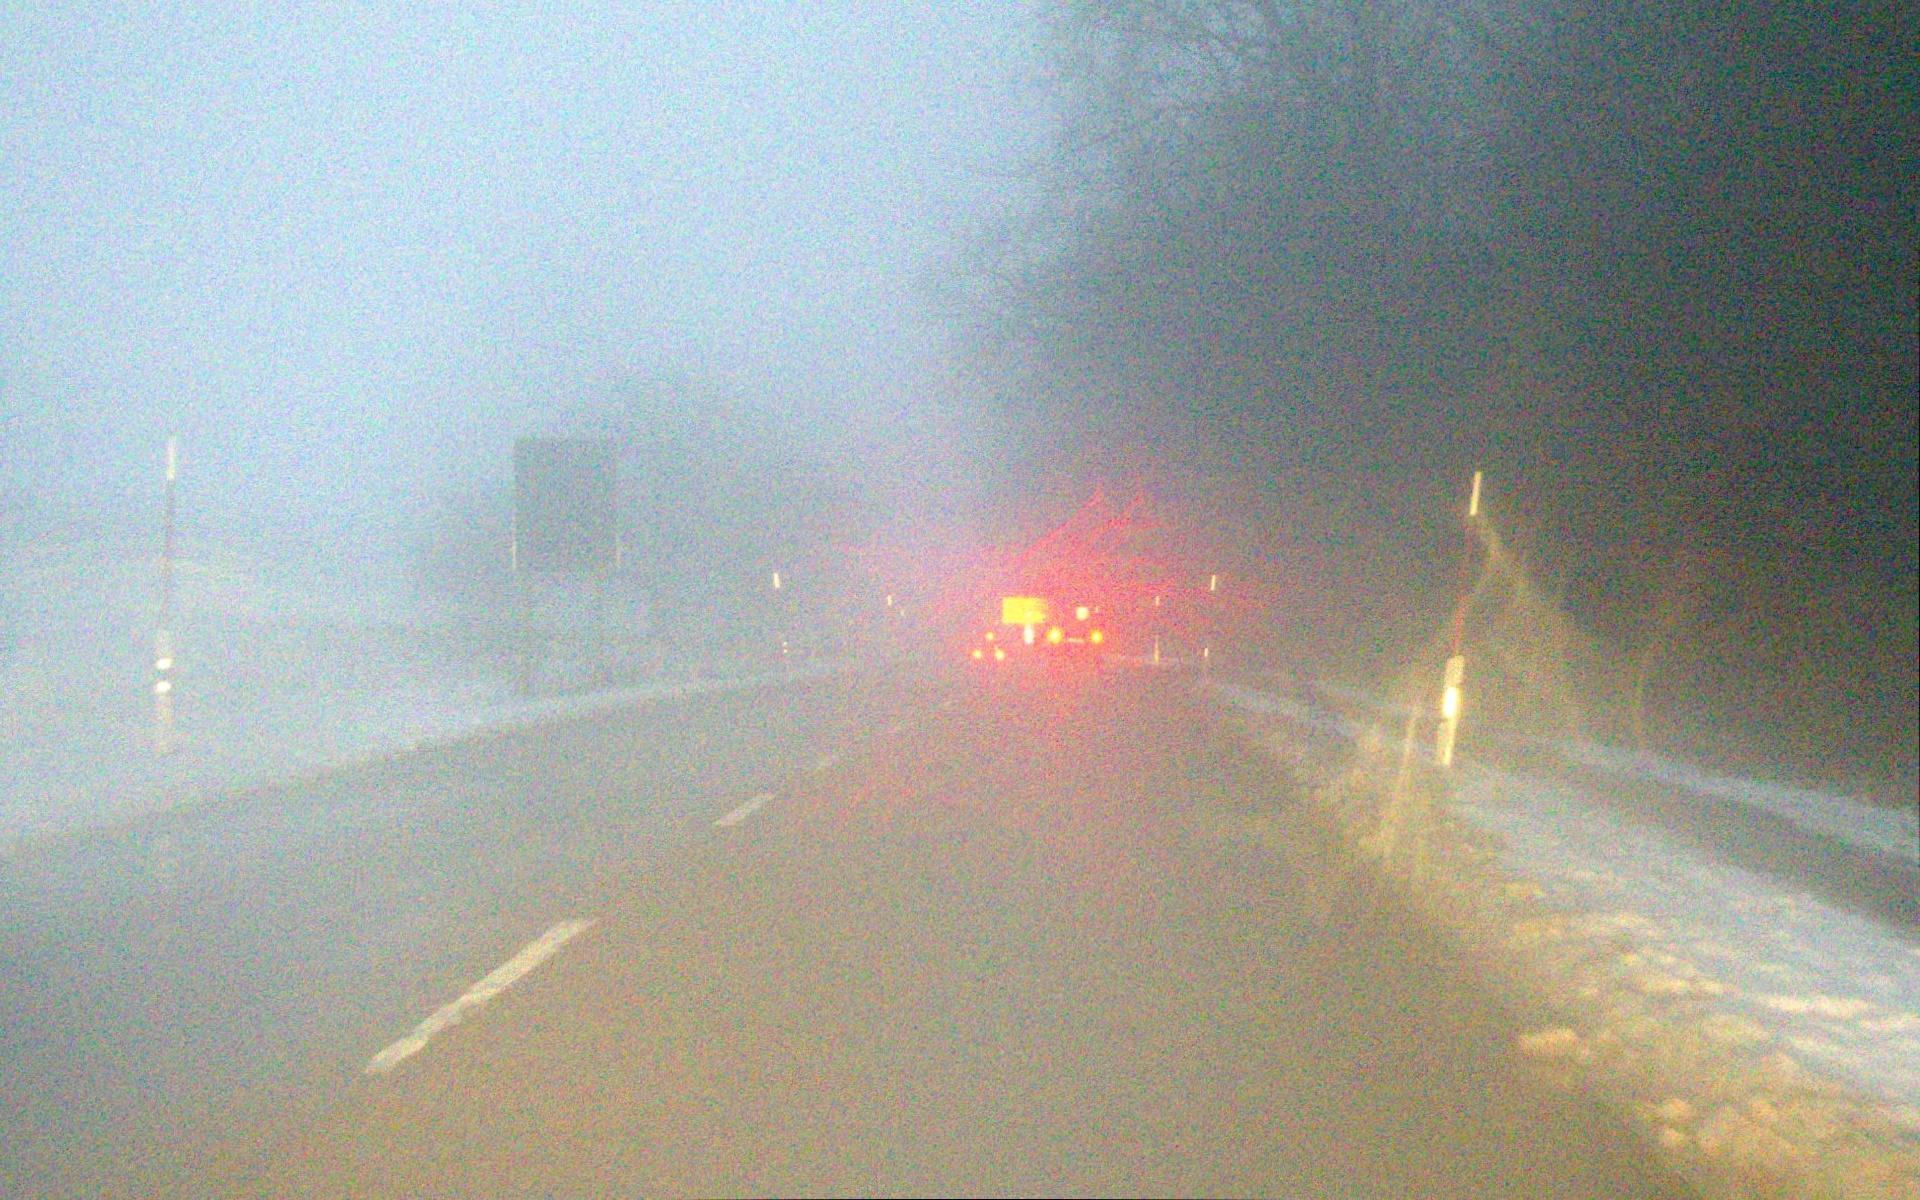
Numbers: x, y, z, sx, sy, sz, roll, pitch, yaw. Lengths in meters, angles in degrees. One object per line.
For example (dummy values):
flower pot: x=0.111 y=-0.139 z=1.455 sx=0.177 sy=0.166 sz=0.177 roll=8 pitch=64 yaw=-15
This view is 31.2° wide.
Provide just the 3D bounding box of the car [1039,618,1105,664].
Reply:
car: x=3.509 y=1.283 z=108.174 sx=1.993 sy=1.415 sz=4.000 roll=0 pitch=0 yaw=1
